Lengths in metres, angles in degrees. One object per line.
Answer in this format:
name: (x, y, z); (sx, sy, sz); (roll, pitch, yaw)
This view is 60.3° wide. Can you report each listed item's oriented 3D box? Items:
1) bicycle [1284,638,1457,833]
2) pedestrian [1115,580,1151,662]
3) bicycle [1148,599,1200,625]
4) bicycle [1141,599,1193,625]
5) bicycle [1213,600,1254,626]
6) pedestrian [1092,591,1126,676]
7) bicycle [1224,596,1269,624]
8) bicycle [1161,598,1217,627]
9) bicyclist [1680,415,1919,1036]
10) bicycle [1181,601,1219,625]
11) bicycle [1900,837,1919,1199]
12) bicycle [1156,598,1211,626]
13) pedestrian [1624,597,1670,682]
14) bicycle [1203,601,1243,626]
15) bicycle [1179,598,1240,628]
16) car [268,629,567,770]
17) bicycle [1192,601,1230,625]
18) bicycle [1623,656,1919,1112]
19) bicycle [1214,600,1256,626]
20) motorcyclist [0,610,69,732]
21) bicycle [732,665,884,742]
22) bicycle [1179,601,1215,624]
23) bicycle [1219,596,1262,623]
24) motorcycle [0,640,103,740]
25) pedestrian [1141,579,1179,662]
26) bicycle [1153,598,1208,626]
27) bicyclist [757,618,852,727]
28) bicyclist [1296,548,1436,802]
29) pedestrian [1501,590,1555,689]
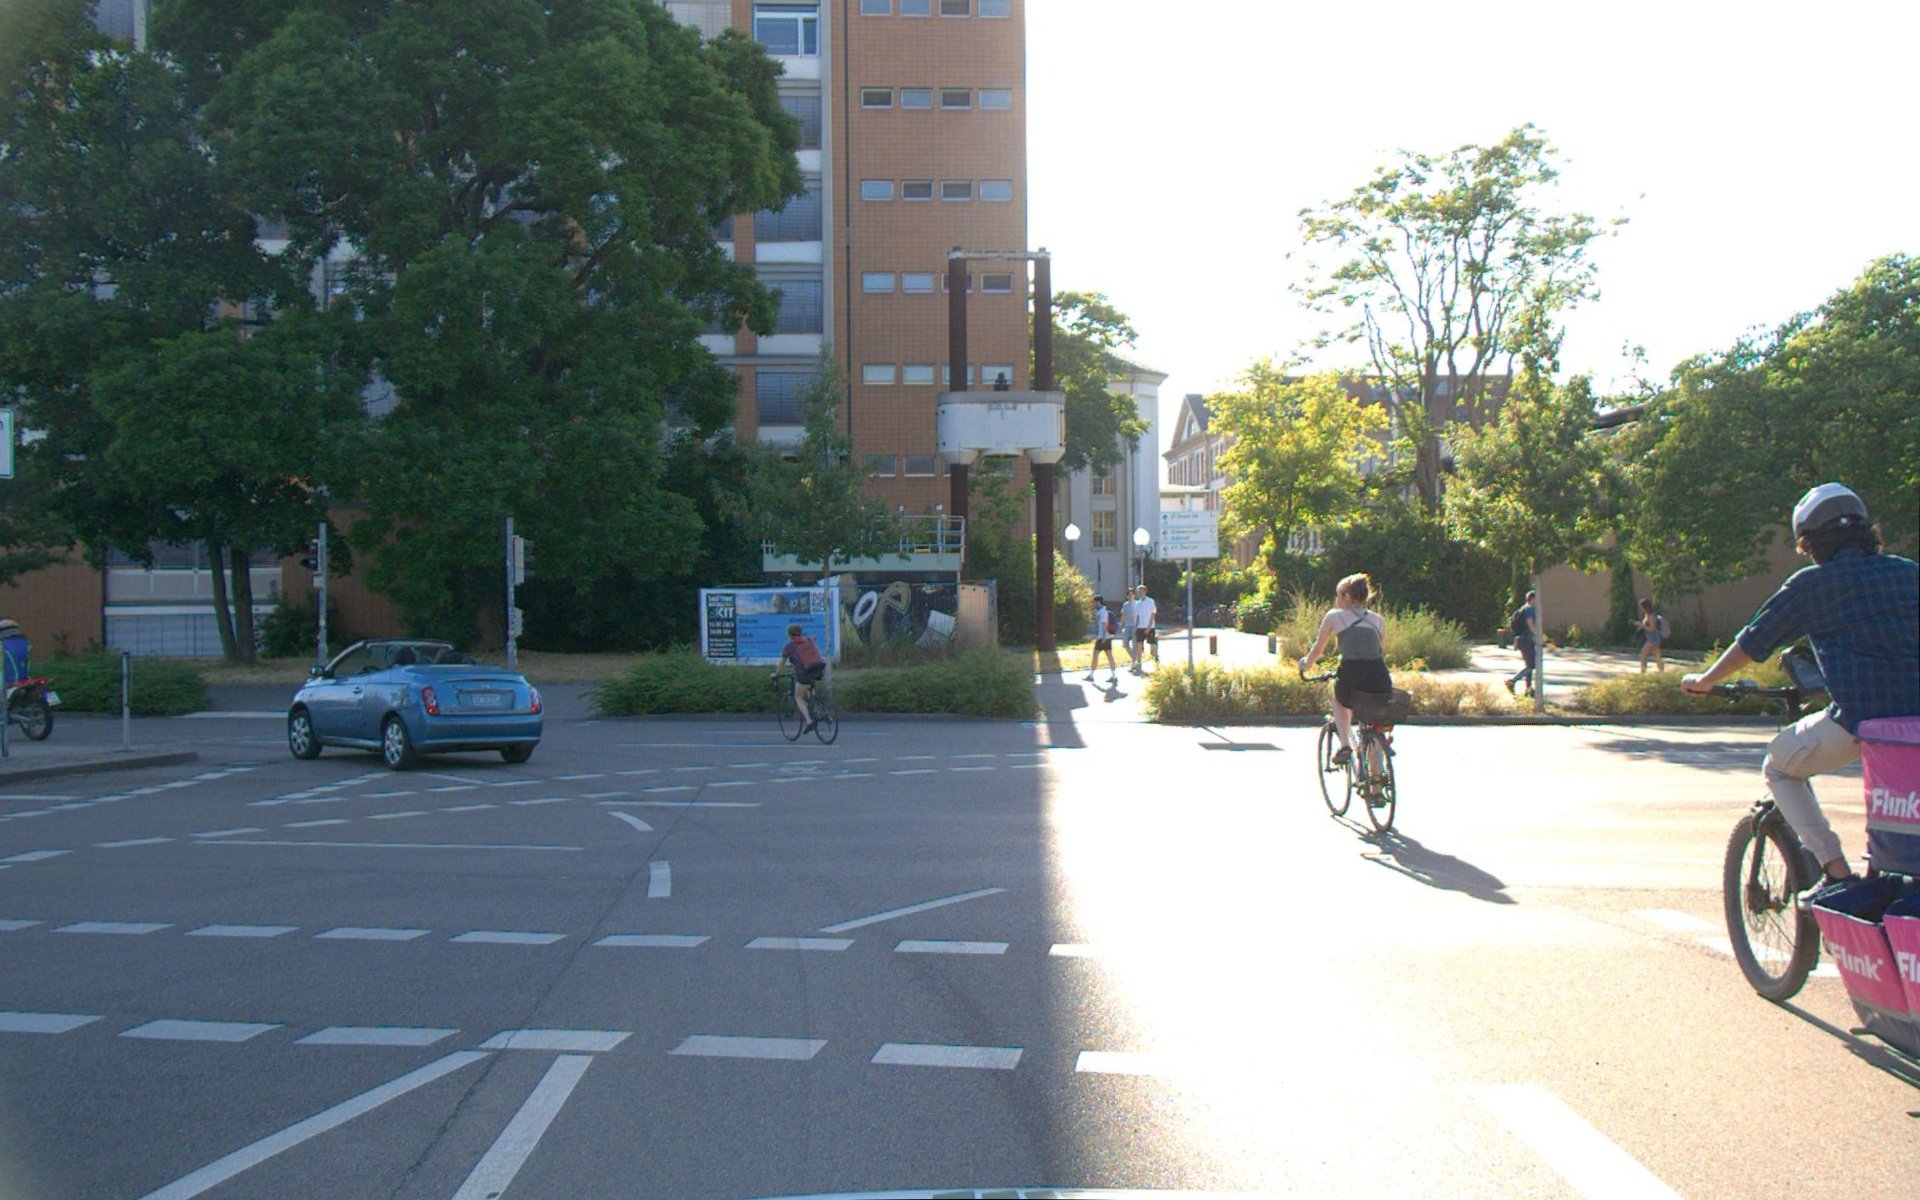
bicycle: (2.856, 0.896, 11.761); (0.762, 1.176, 2.292); (-1, 0, 3)
pedestrian: (4.034, 0.484, 38.579); (0.571, 1.902, 0.614); (-1, 0, -38)
bicycle: (11.849, 0.657, 91.621); (2.812, 1.405, 0.683); (1, 0, 1)
bicycle: (11.717, 0.660, 93.682); (2.812, 1.405, 0.683); (1, 0, 1)
bicycle: (12.182, 0.594, 73.665); (1.757, 1.127, 0.500); (1, 0, 1)
pedestrian: (3.053, 0.678, 33.866); (0.615, 1.729, 0.623); (-1, 0, 10)
bicycle: (11.994, 0.405, 69.237); (1.757, 1.127, 0.500); (1, 0, 1)
bicycle: (11.826, 0.640, 85.403); (2.812, 1.405, 0.683); (1, 0, 1)
bicyclist: (3.032, 0.372, 5.530); (0.762, 1.865, 1.093); (-1, 0, 1)
bicycle: (11.854, 0.630, 81.683); (1.757, 1.127, 0.500); (1, 0, 1)
bicycle: (2.149, 1.010, 2.138); (0.703, 1.141, 1.868); (-2, 1, -3)
bicycle: (11.789, 0.645, 87.442); (2.812, 1.405, 0.683); (1, 0, 1)
pedestrian: (13.270, 0.755, 31.946); (0.624, 1.602, 0.623); (-1, 0, 2)
bicycle: (12.191, 0.624, 76.626); (1.757, 1.127, 0.500); (1, 0, 1)
bicycle: (12.040, 0.629, 79.836); (2.812, 1.405, 0.683); (1, 0, 1)
car: (-6.423, 1.093, 19.371); (1.793, 1.470, 3.912); (1, -2, -45)
bicycle: (11.995, 0.626, 79.066); (1.757, 1.127, 0.500); (1, 0, 1)
bicycle: (3.039, 0.820, 5.367); (0.762, 1.176, 2.581); (-1, 0, 1)
bicycle: (12.123, 0.565, 72.858); (1.757, 1.127, 0.500); (1, 0, 1)
motorcyclist: (-13.941, 1.030, 24.393); (0.916, 1.751, 1.098); (-2, -2, 29)
bicycle: (-2.057, 1.379, 22.196); (2.209, 0.969, 0.718); (-3, -2, 42)
bicycle: (11.986, 0.638, 83.616); (1.757, 1.127, 0.500); (1, 0, 1)
bicycle: (12.083, 0.419, 71.171); (1.757, 1.127, 0.500); (1, 0, 1)
motorcycle: (-13.963, 1.311, 24.398); (2.594, 1.401, 1.098); (-2, -2, 29)
pedestrian: (4.621, 0.475, 38.229); (0.571, 1.902, 0.614); (-1, 0, -38)
bicycle: (11.783, 0.647, 88.311); (2.812, 1.405, 0.683); (1, 0, 1)
bicyclist: (-2.093, 0.972, 22.238); (1.056, 1.409, 0.718); (-3, -2, 42)
bicyclist: (2.853, 0.505, 11.731); (0.762, 1.706, 1.093); (-1, 0, 3)
pedestrian: (10.156, 0.700, 29.603); (0.716, 1.743, 0.713); (-1, 0, 2)
